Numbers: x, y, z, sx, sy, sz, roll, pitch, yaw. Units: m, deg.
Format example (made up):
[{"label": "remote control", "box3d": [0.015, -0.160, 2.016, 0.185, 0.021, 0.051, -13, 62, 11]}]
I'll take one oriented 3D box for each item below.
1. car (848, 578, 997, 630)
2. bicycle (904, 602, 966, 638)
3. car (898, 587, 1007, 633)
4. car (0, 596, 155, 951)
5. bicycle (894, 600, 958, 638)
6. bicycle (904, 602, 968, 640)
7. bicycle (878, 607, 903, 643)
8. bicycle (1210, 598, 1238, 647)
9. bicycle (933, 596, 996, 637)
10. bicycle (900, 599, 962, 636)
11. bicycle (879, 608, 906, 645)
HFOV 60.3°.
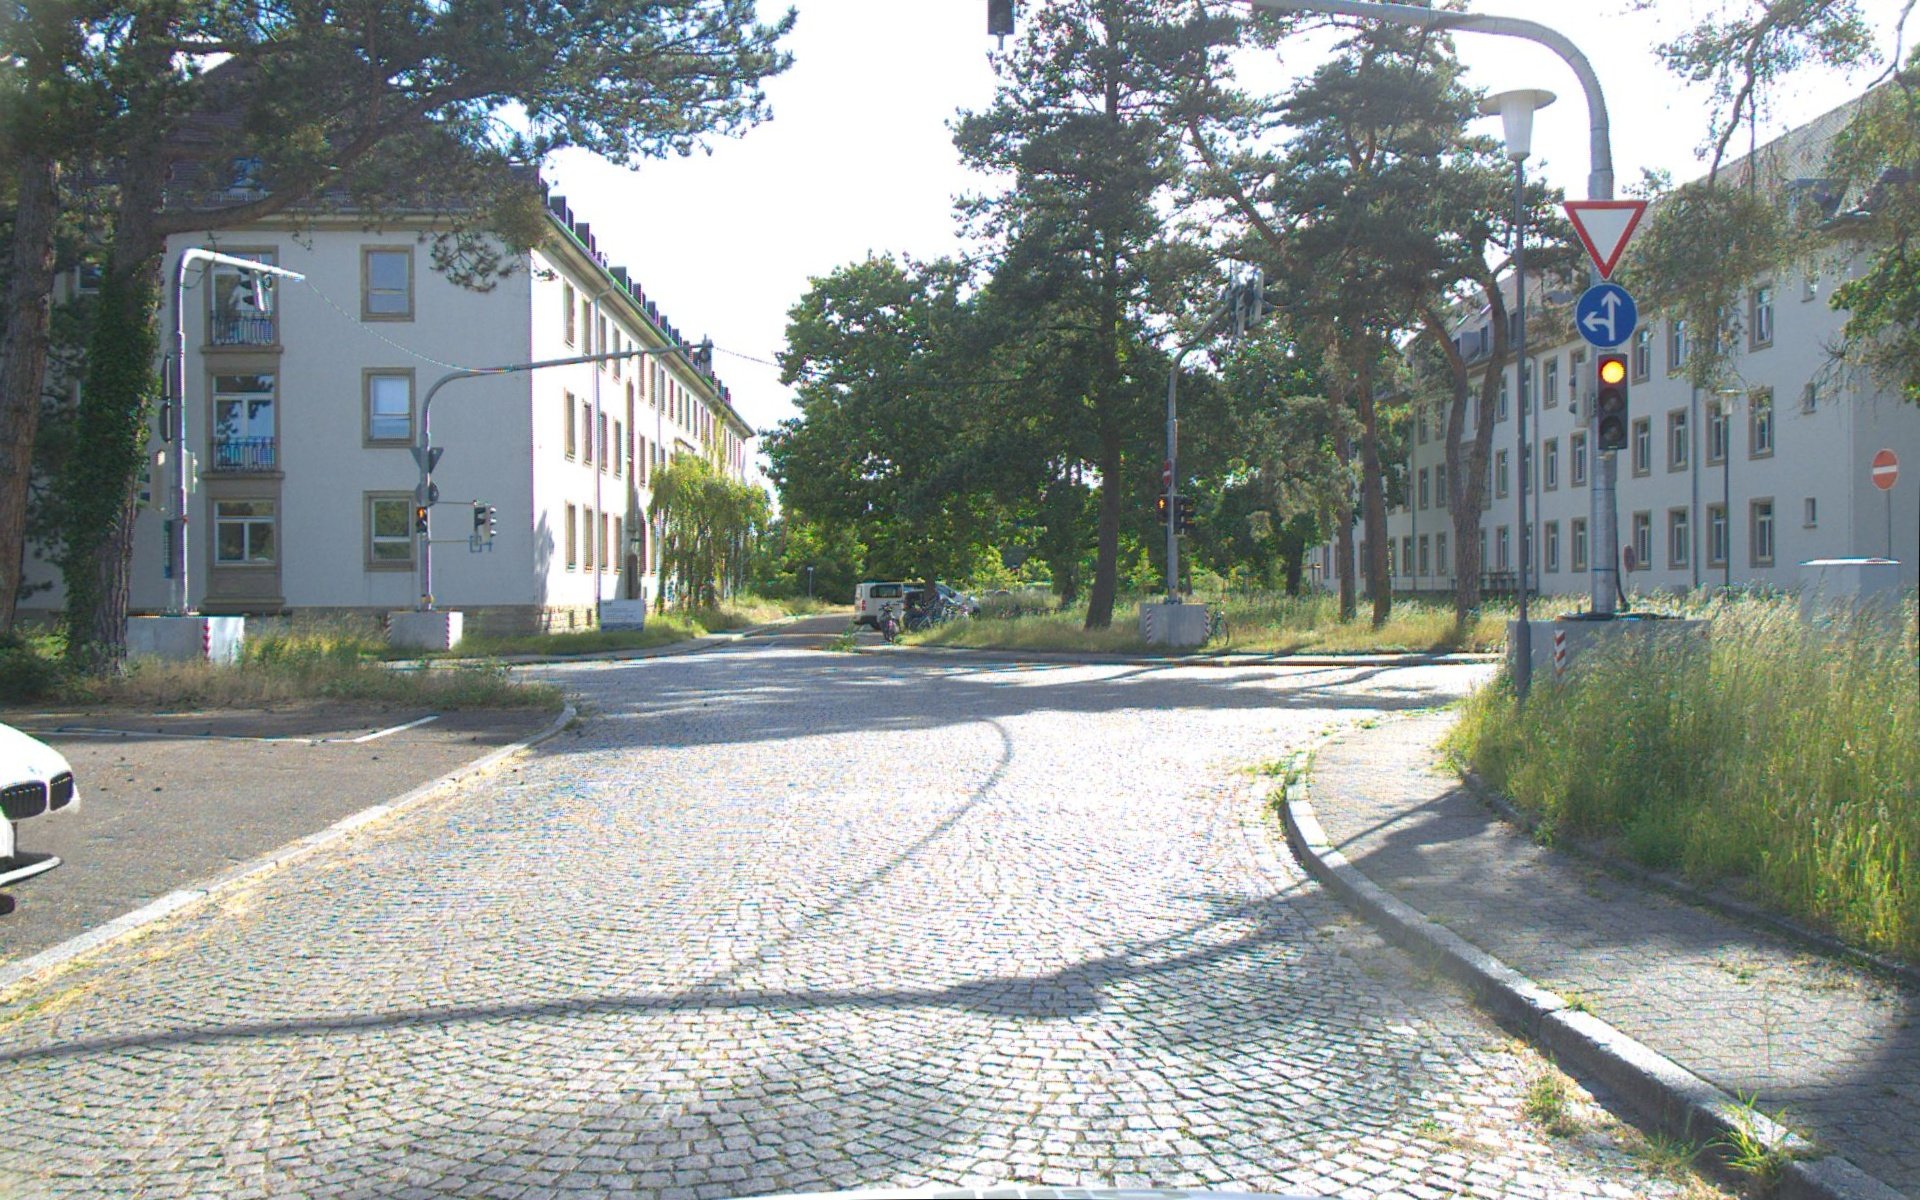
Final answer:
[{"label": "car", "box3d": [-1.549, 0.143, 67.555, 5.821, 2.049, 2.470, -1, 0, -9]}, {"label": "bicycle", "box3d": [-0.747, 0.598, 49.647, 1.818, 1.049, 0.749, -1, 0, -5]}, {"label": "car", "box3d": [-0.300, 0.372, 63.440, 3.914, 1.713, 1.843, -1, 0, -10]}, {"label": "car", "box3d": [-6.389, 0.686, 7.590, 4.452, 1.493, 1.751, 2, 0, -5]}, {"label": "bicycle", "box3d": [-1.049, 0.589, 51.651, 1.920, 1.149, 0.641, -1, 0, -29]}, {"label": "bicycle", "box3d": [-0.738, 0.638, 50.446, 1.903, 1.149, 0.749, -1, 0, -5]}, {"label": "bicycle", "box3d": [-2.027, 0.715, 48.047, 0.682, 0.988, 1.859, 0, 0, -4]}, {"label": "bicycle", "box3d": [6.027, 0.503, 37.789, 0.456, 1.099, 1.174, -1, 0, 1]}, {"label": "bicycle", "box3d": [0.148, 0.513, 51.186, 1.903, 1.257, 0.485, -1, 0, -5]}, {"label": "bicycle", "box3d": [-0.934, 0.538, 52.753, 1.904, 1.149, 0.646, -1, 0, -8]}, {"label": "bicycle", "box3d": [-1.892, 0.726, 46.110, 0.682, 0.988, 1.859, 0, 0, -4]}]
